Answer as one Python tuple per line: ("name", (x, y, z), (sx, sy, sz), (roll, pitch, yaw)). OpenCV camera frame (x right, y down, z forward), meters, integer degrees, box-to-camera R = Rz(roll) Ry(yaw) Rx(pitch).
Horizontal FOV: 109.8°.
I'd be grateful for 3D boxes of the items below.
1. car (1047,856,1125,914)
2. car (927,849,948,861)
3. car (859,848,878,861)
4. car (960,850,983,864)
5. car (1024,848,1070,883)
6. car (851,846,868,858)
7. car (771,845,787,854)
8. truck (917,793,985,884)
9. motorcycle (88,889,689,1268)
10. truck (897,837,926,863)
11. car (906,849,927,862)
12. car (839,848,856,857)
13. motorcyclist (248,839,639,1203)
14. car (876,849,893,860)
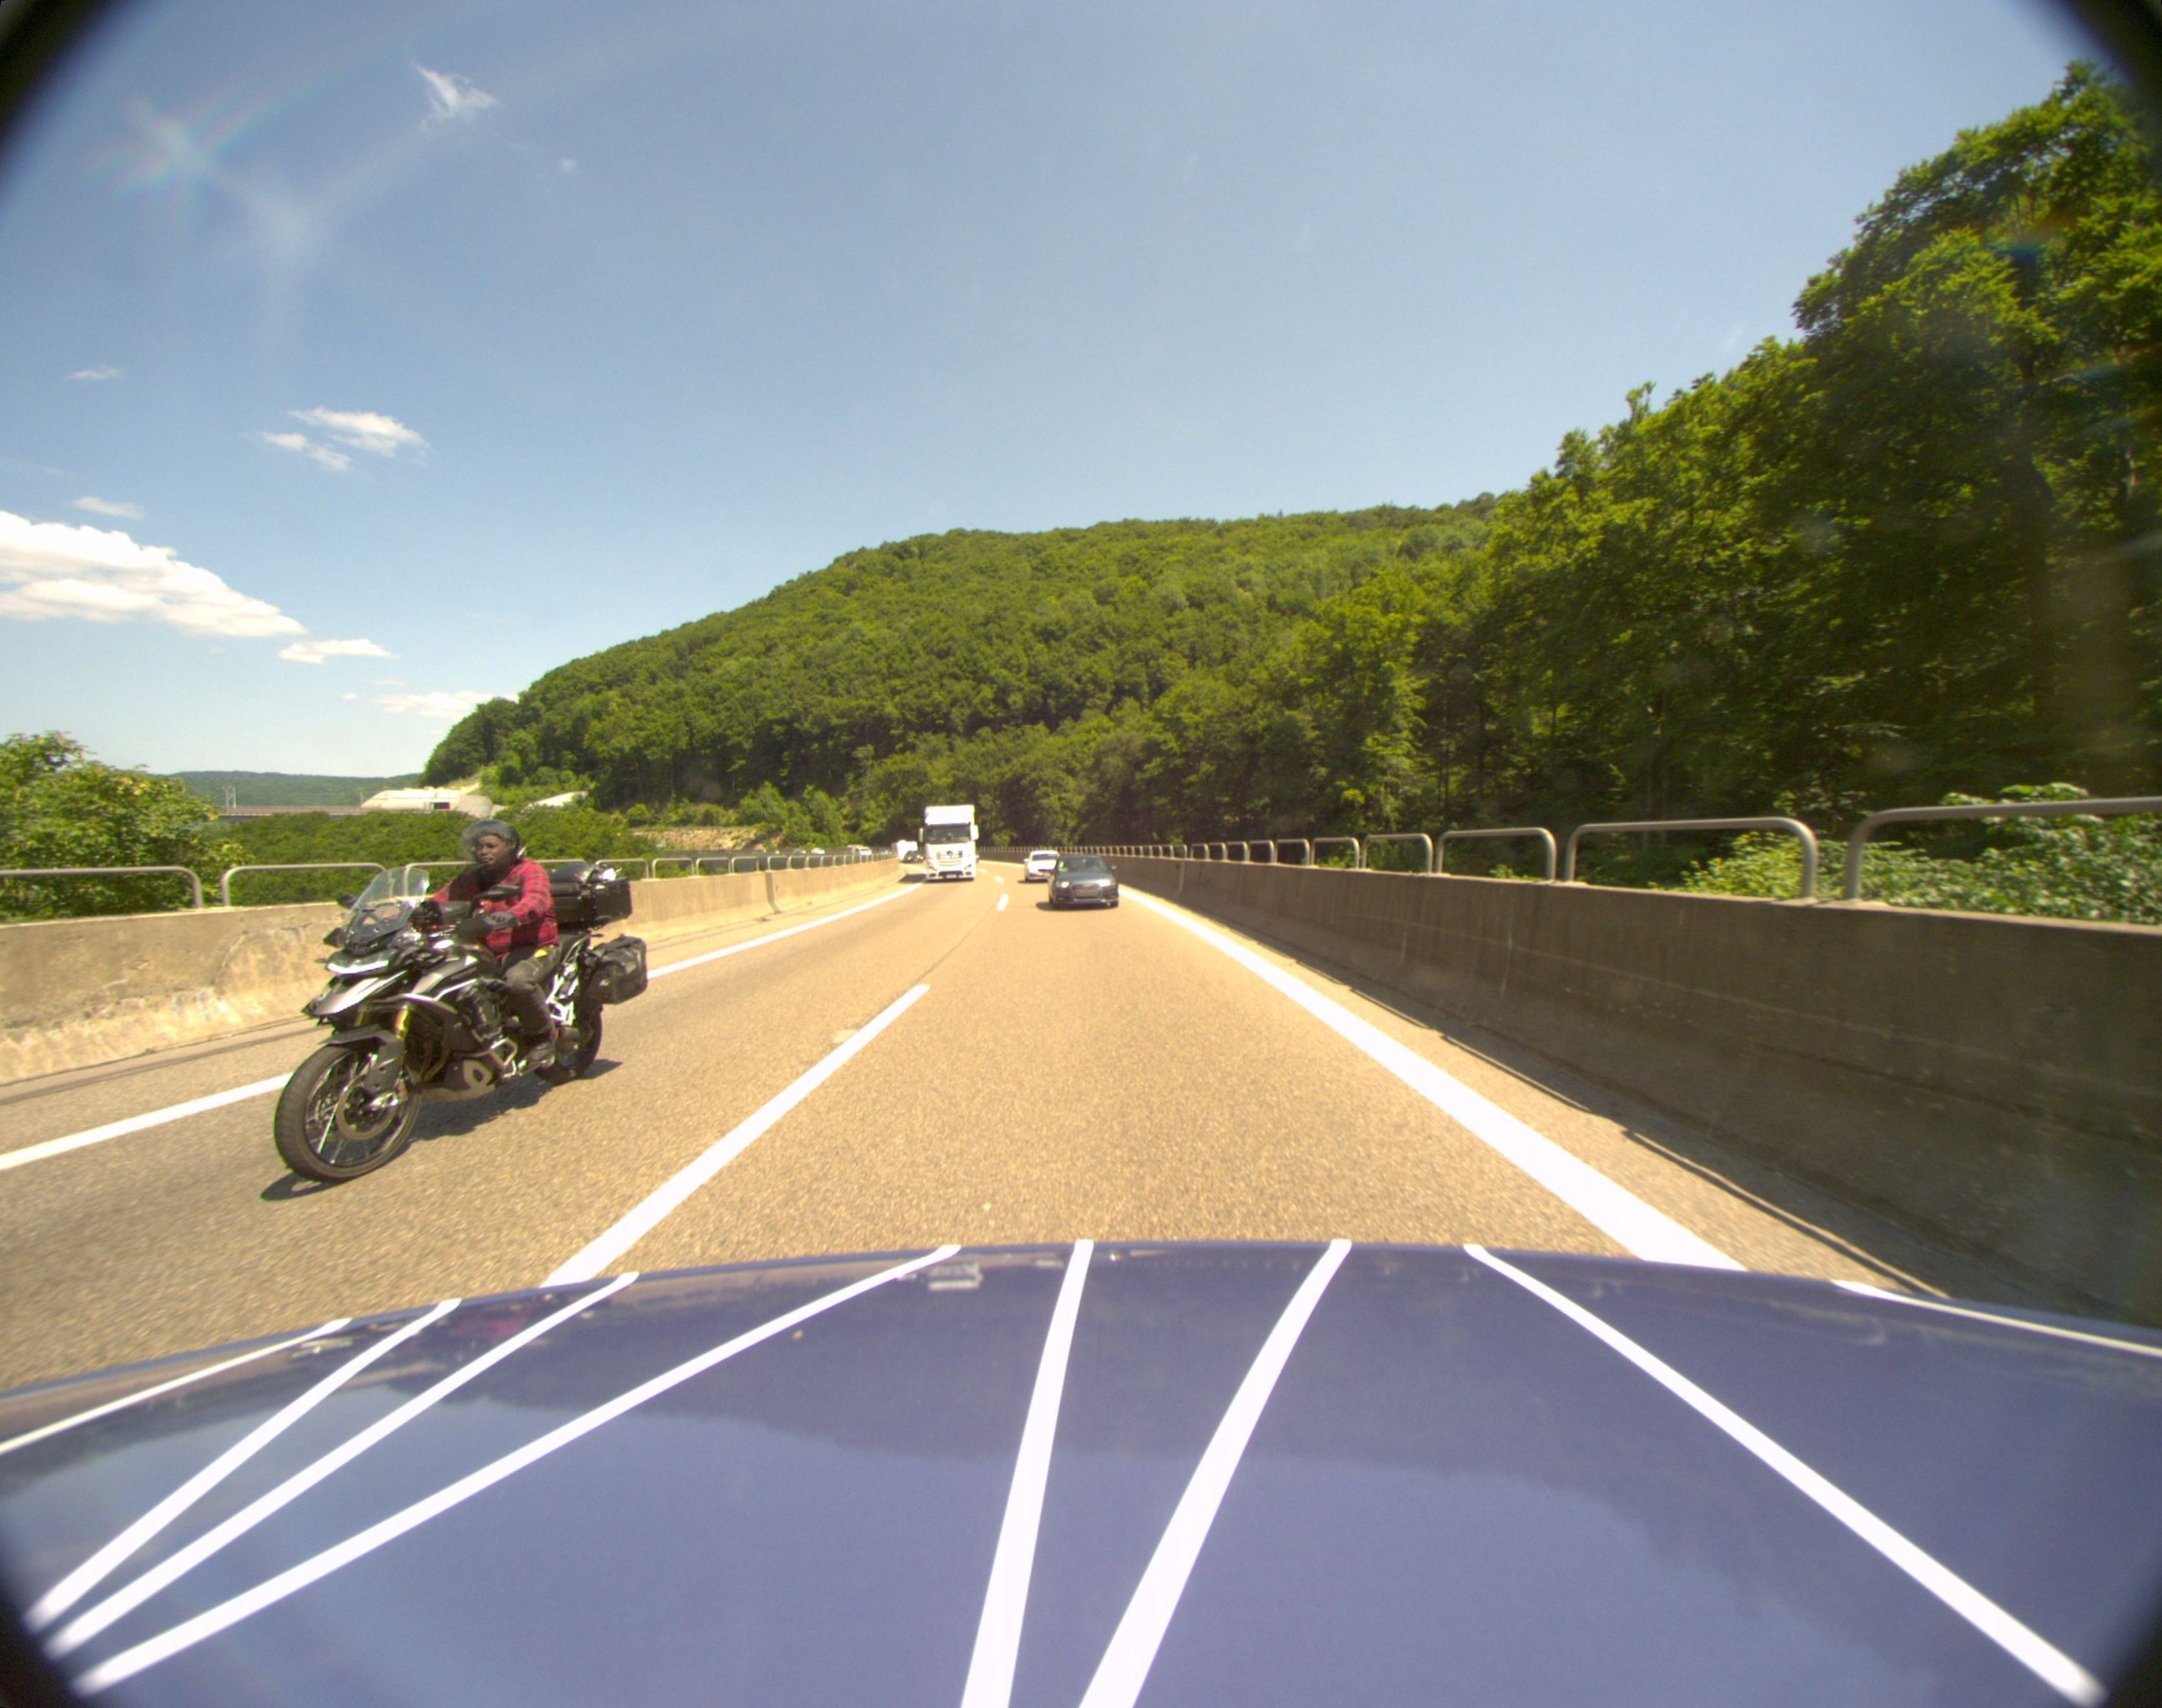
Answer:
("car", (0.032, 0.768, 20.610), (1.756, 1.350, 4.120), (-1, 0, -4))
("car", (-19.694, 0.132, 104.144), (2.002, 1.444, 3.992), (-2, 1, -22))
("car", (-34.533, 0.031, 123.282), (2.003, 2.002, 3.991), (-2, 1, -29))
("car", (-12.045, 0.302, 83.199), (1.758, 1.480, 3.975), (-2, 1, -19))
("car", (-1.689, 0.517, 36.281), (1.756, 1.460, 3.979), (-3, 1, -8))
("car", (-37.698, -0.351, 129.118), (2.003, 2.002, 3.990), (1, 1, -27))
("car", (-71.042, -1.044, 178.643), (3.988, 2.002, 2.004), (0, 1, 45))
("truck", (-7.191, -0.747, 43.227), (2.971, 4.109, 16.693), (-2, 1, -8))
("motorcycle", (-3.558, 0.997, 4.484), (0.975, 1.411, 2.681), (-1, 1, 2))
("truck", (-21.457, -0.486, 96.092), (2.621, 3.084, 6.843), (-2, 1, -20))
("car", (-19.704, 0.227, 90.906), (1.758, 1.480, 3.974), (-2, 1, -23))
("car", (-46.619, -0.253, 151.606), (2.003, 1.783, 3.990), (-2, 1, -34))
("motorcyclist", (-3.548, 0.829, 4.434), (1.063, 1.790, 1.338), (-1, 1, 2))
("car", (-34.092, 0.087, 131.696), (2.003, 1.783, 3.991), (-2, 1, -27))
